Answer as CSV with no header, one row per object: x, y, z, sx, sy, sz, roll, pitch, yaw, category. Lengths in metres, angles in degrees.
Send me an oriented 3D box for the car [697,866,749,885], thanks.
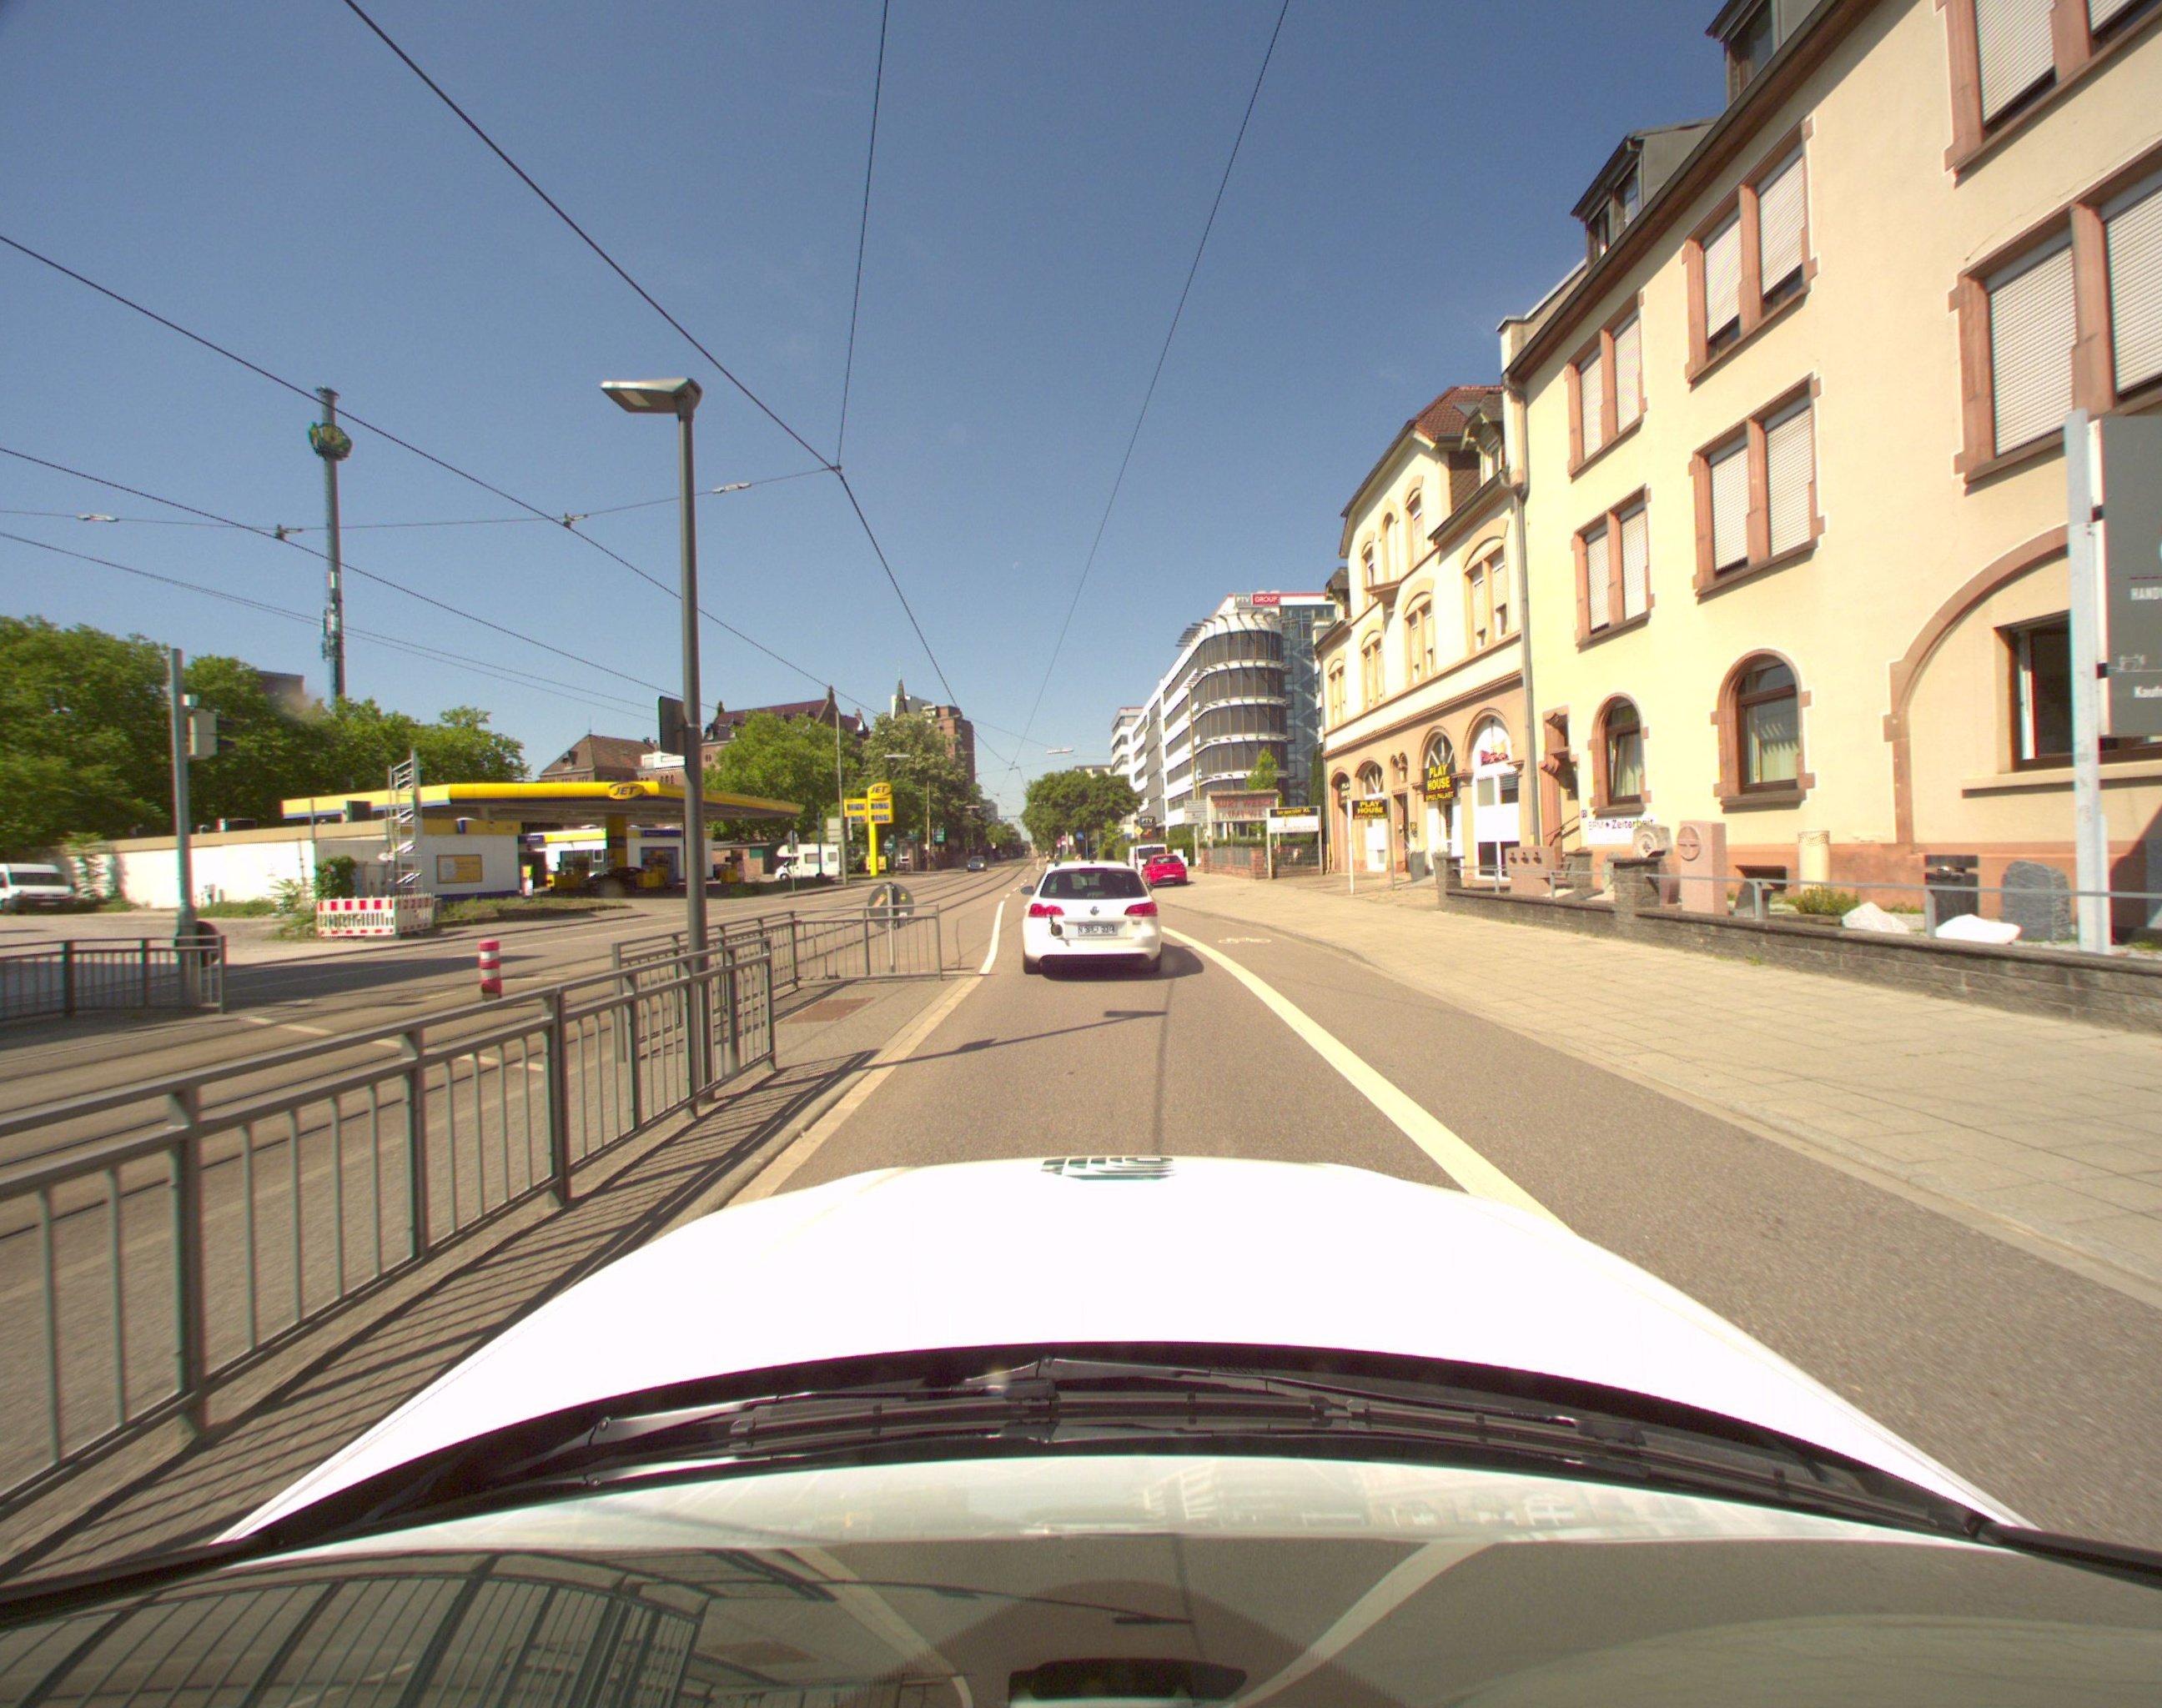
-32.293,1.941,73.556,4.121,1.527,1.948,-2,-1,22,car

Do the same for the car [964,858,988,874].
-10.794,1.238,83.643,1.739,1.571,3.894,-3,-1,2,car

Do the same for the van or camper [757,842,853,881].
-21.894,0.577,64.810,6.676,2.967,2.613,1,0,-3,van or camper

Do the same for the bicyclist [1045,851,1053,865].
-3.730,0.514,94.812,0.784,1.629,0.737,2,-1,-3,bicyclist

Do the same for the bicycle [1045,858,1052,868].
-3.741,1.035,94.597,0.809,1.078,2.010,-2,0,-2,bicycle

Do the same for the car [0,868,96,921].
-49.935,1.935,38.582,5.595,2.327,2.340,-2,-1,19,car

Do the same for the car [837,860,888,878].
-21.556,1.475,80.508,1.924,1.625,4.607,-2,0,41,car

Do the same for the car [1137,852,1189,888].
3.707,0.692,37.402,1.718,1.443,4.308,-4,0,-2,car

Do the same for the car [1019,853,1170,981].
0.086,0.727,11.704,1.749,1.442,4.409,-1,0,-2,car

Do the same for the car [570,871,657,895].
-27.933,1.693,48.793,1.682,1.303,4.413,0,0,22,car

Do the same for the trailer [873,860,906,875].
-20.831,1.456,88.670,3.207,1.525,1.776,-2,0,-2,trailer

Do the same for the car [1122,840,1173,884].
3.512,0.410,43.747,1.972,2.054,5.186,-4,0,-3,car
